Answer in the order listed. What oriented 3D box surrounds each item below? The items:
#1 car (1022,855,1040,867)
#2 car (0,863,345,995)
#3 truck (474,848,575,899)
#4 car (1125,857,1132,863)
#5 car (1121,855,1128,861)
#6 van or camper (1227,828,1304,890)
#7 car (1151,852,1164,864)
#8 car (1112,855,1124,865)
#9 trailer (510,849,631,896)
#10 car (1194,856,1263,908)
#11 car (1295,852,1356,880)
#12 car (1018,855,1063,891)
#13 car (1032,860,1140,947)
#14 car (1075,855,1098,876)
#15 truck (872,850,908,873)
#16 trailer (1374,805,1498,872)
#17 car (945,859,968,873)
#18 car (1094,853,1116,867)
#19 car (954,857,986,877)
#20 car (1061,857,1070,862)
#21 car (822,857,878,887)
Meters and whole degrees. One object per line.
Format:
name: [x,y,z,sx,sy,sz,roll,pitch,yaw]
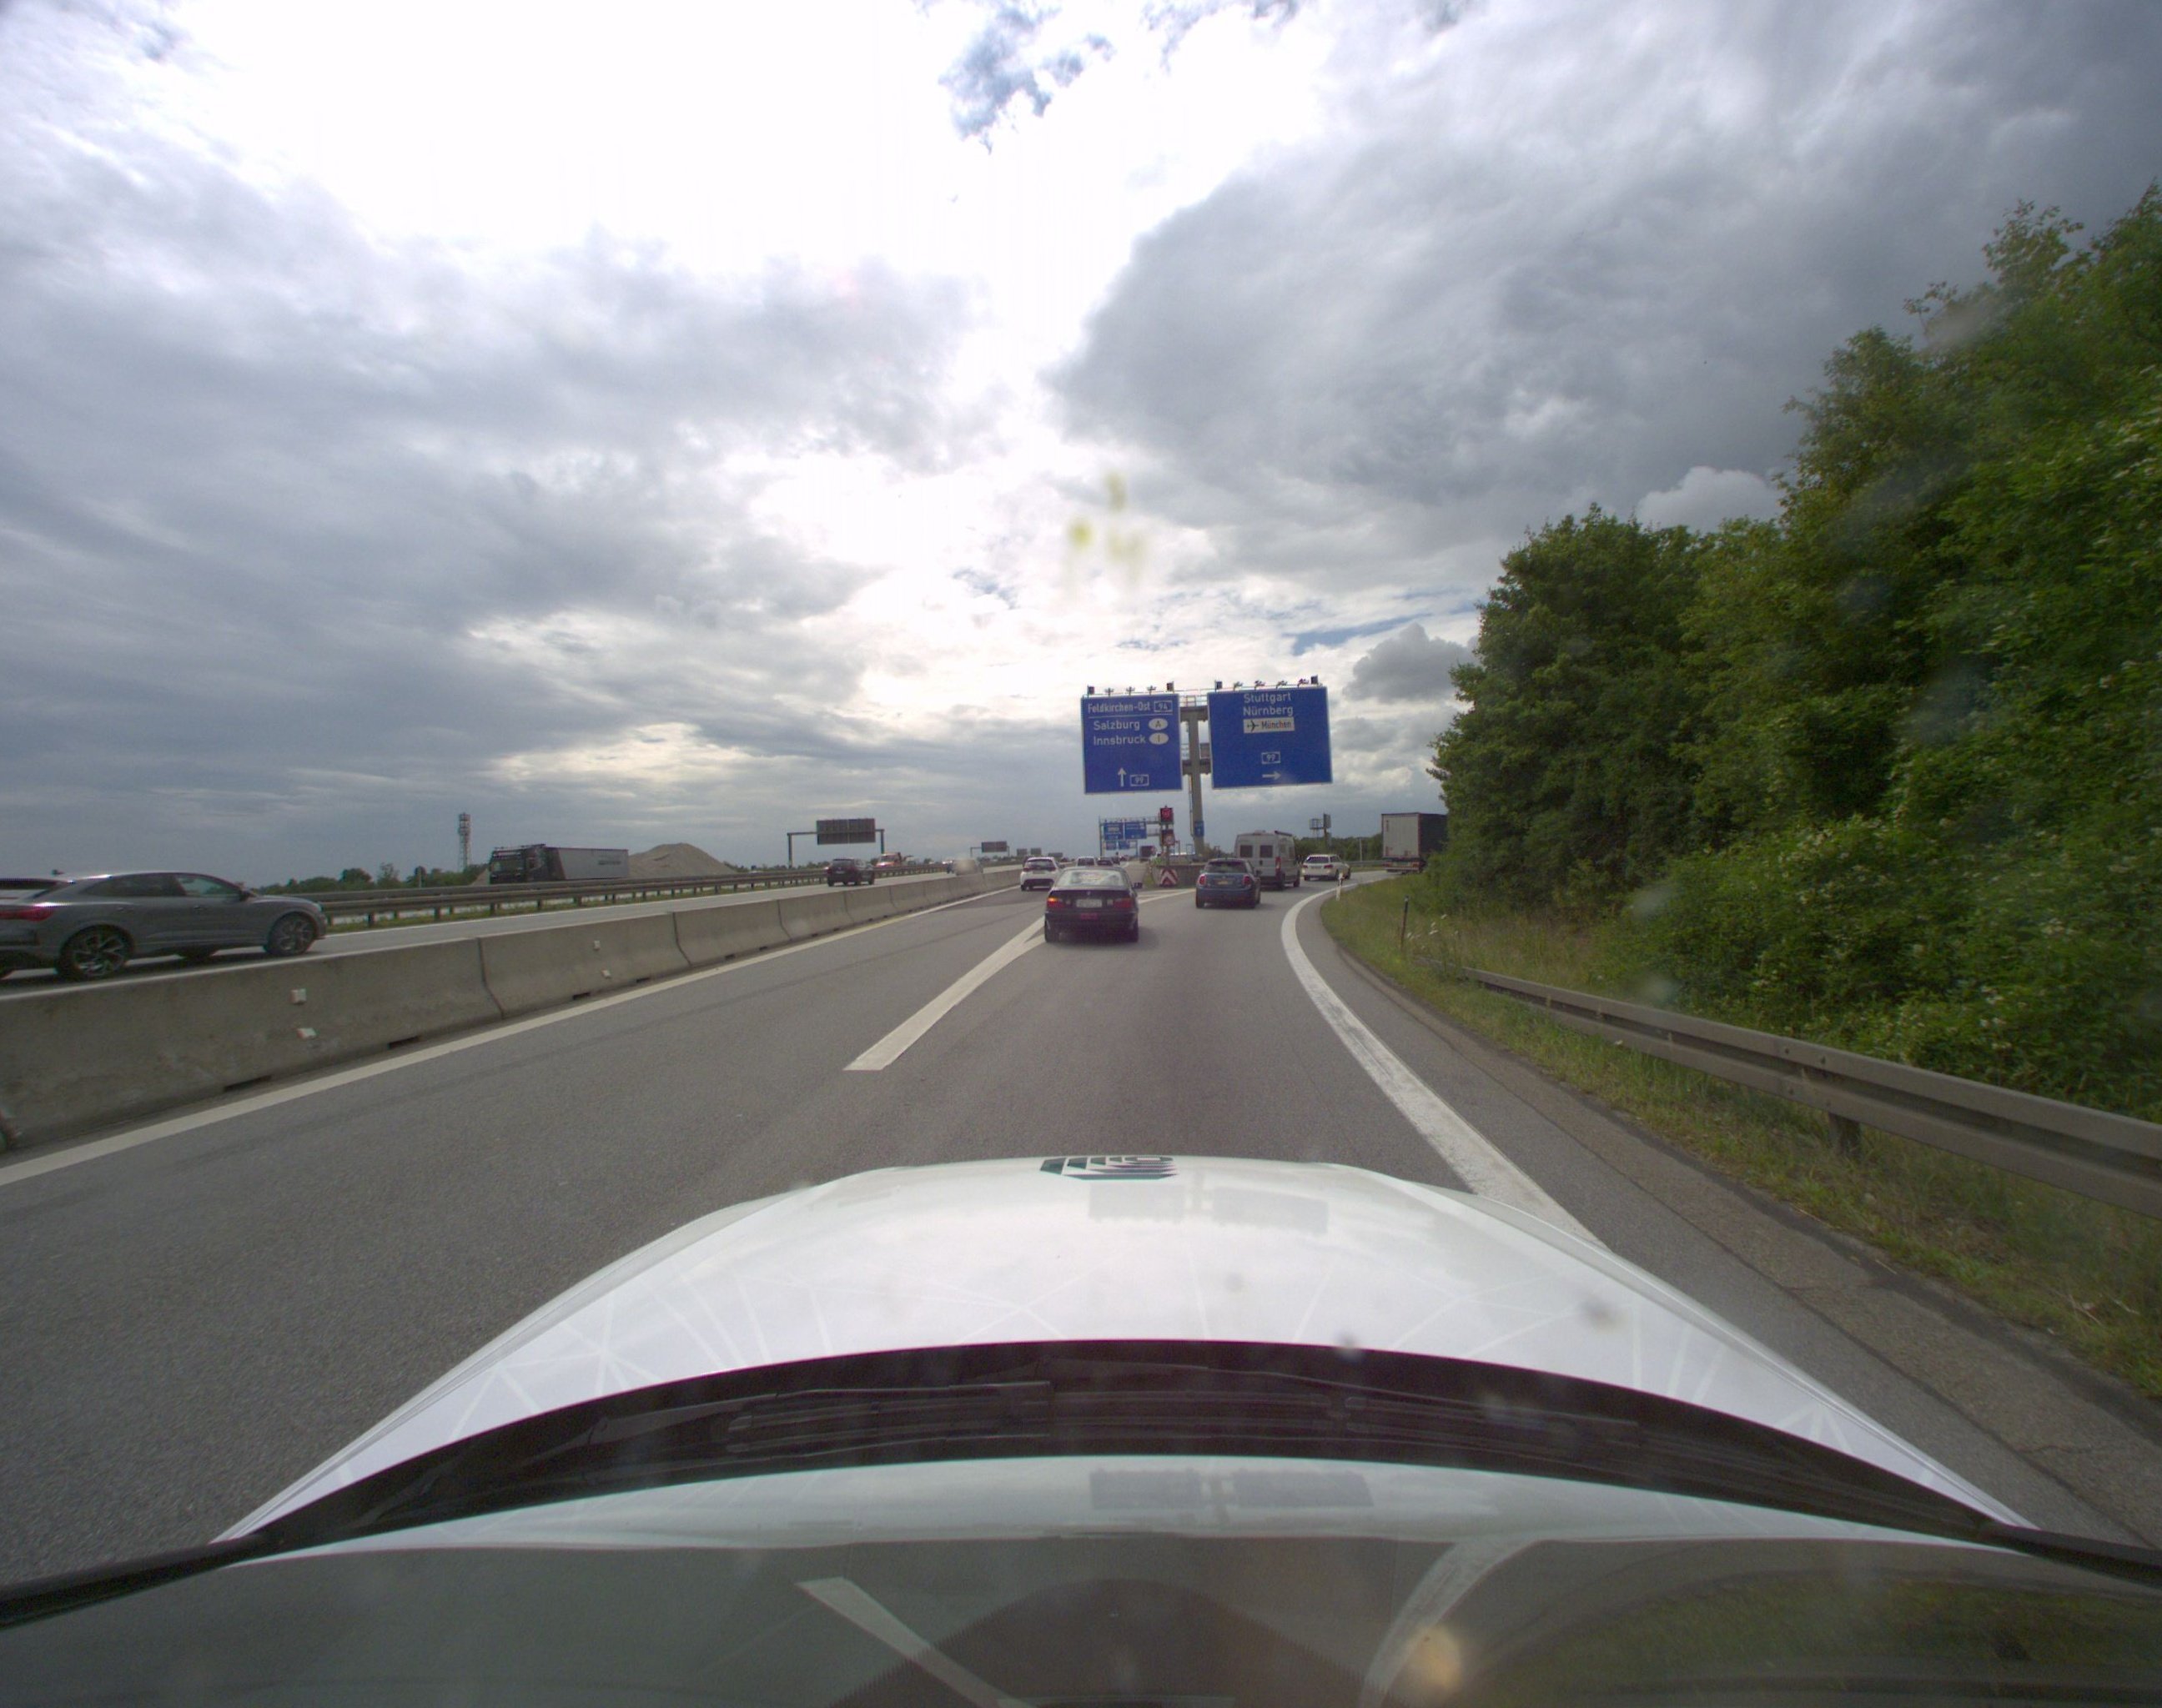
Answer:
car: [-7.293,1.019,118.928,1.985,1.683,4.870,-1,0,3]
car: [-14.643,1.000,12.743,1.893,1.640,4.648,-1,0,2]
truck: [-38.661,1.282,56.812,3.140,3.330,5.621,-1,0,-1]
car: [13.073,1.617,222.589,1.795,1.424,4.005,-1,0,5]
car: [10.765,1.004,201.601,1.795,1.424,4.005,-1,0,5]
van or camper: [8.535,0.190,37.183,2.273,2.568,6.194,-2,0,23]
car: [13.558,0.640,144.320,1.986,2.013,4.001,-1,0,1]
car: [5.823,0.926,128.301,1.858,1.424,4.004,-1,0,4]
trailer: [-38.736,1.341,62.365,3.188,3.269,9.819,-1,0,-1]
car: [4.531,0.803,24.697,1.716,1.419,3.681,-1,0,15]
car: [14.147,0.679,46.869,2.185,1.501,4.817,-2,-1,31]
car: [-1.814,0.840,37.785,1.694,1.508,3.843,-1,0,3]
car: [0.210,0.832,15.595,1.775,1.378,4.141,-1,0,3]
car: [0.459,0.869,63.022,1.578,1.484,3.538,-1,0,3]
truck: [-20.882,0.833,89.167,2.268,2.370,6.203,-1,0,2]
trailer: [25.265,-1.029,57.379,13.107,4.193,3.300,-1,0,-45]
car: [-12.643,1.210,82.771,1.547,1.376,4.002,-1,0,2]
car: [2.604,0.617,88.212,1.983,1.468,4.007,-1,0,6]
car: [-8.802,1.004,64.851,1.767,1.530,4.002,-2,0,2]
car: [-4.303,1.524,224.461,1.984,1.468,4.005,-1,0,4]
car: [-13.509,1.013,47.864,1.893,1.638,4.236,-1,0,2]
